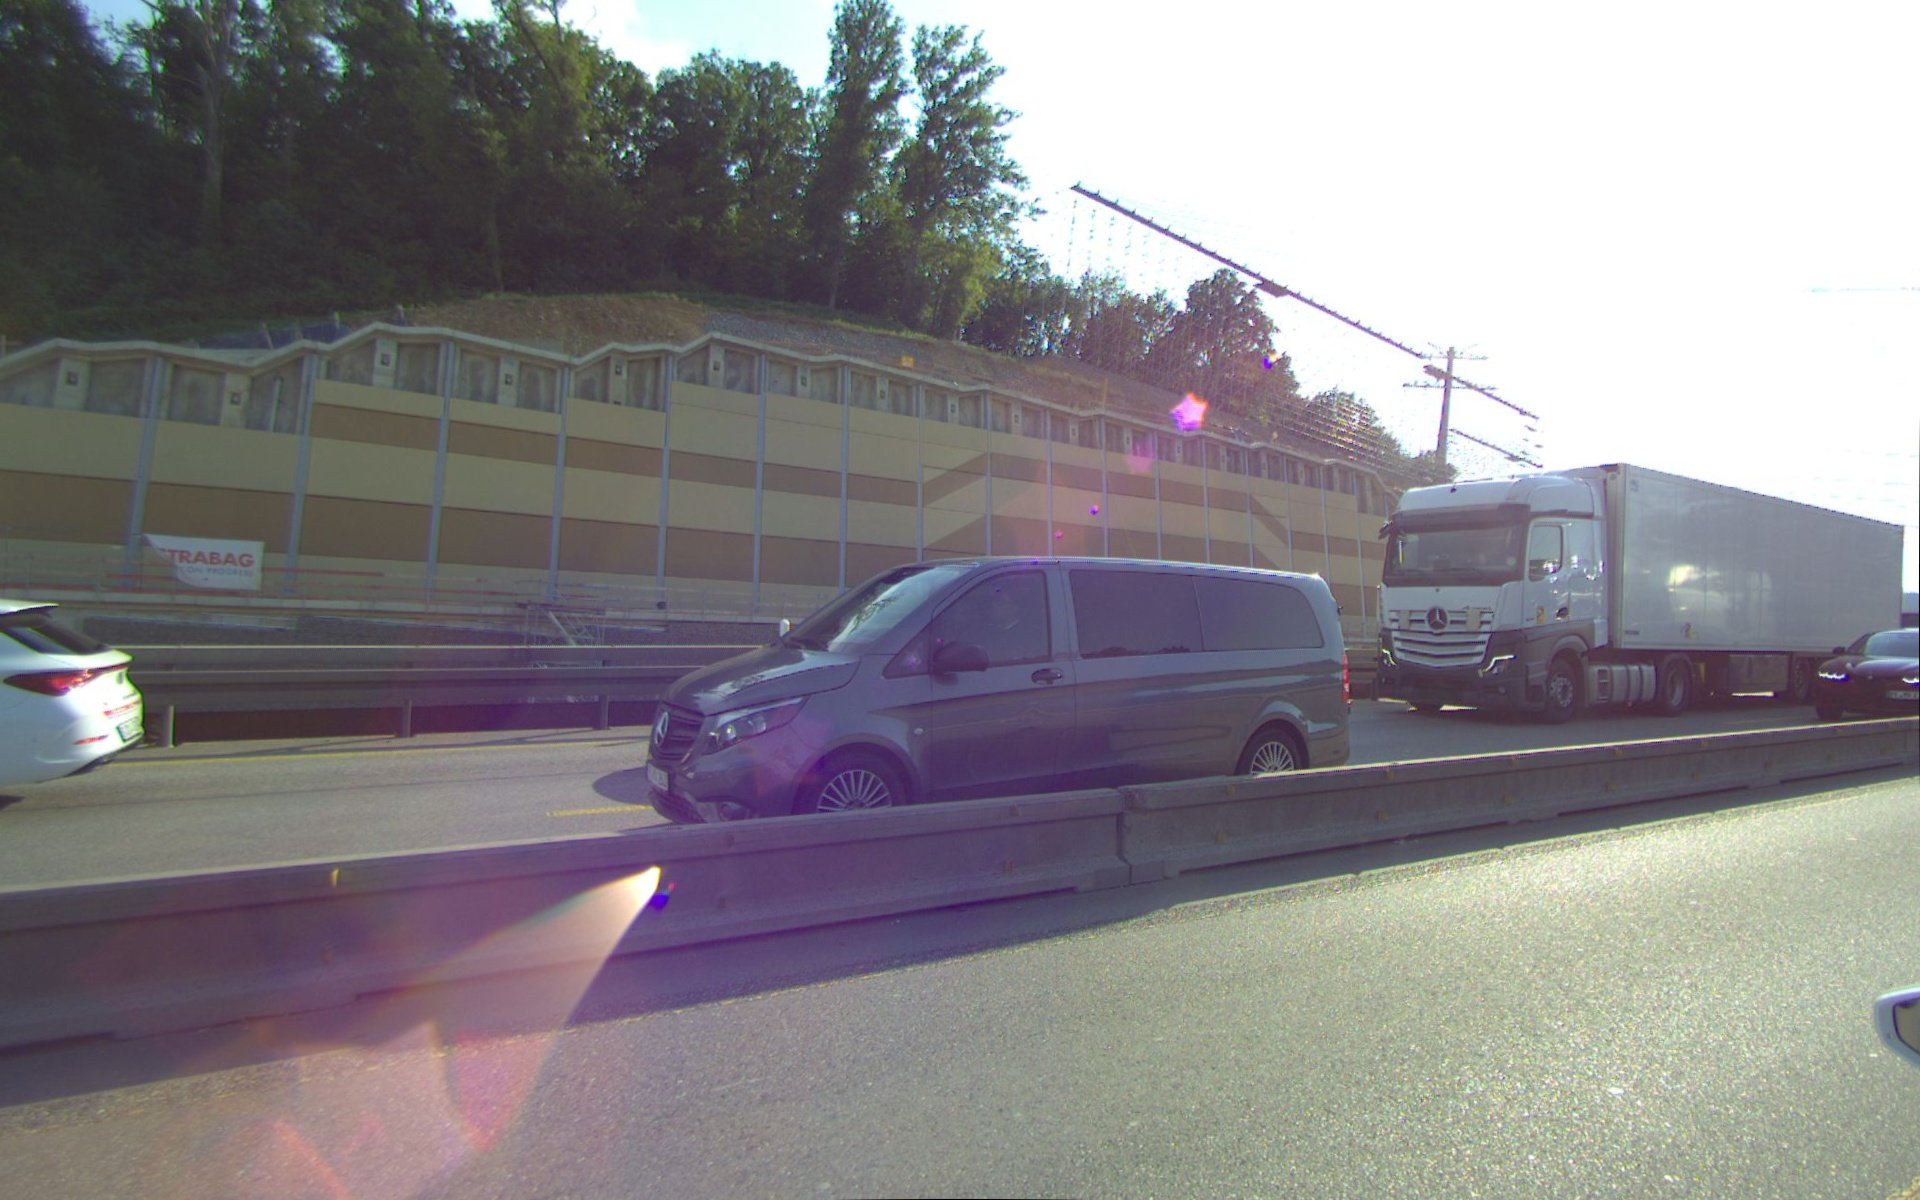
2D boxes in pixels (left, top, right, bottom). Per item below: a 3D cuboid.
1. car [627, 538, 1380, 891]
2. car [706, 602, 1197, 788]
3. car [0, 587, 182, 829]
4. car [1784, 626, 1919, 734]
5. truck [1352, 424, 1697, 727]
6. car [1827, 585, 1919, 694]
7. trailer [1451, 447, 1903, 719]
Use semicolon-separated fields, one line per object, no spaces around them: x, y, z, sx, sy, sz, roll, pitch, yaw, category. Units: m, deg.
0.548;0.592;7.296;5.390;1.796;1.795;0;0;-31;car
0.039;0.835;9.991;4.660;1.479;1.734;2;-1;-32;car
-7.676;0.600;5.984;4.556;1.441;1.740;2;0;-30;car
16.327;1.287;17.352;4.404;1.589;1.878;1;1;-31;car
9.542;-0.273;16.848;5.621;4.274;2.697;2;-1;-33;truck
26.662;1.018;27.878;6.872;2.726;2.010;1;1;-33;car
15.267;-0.067;20.582;13.601;4.274;2.705;2;-1;-33;trailer
